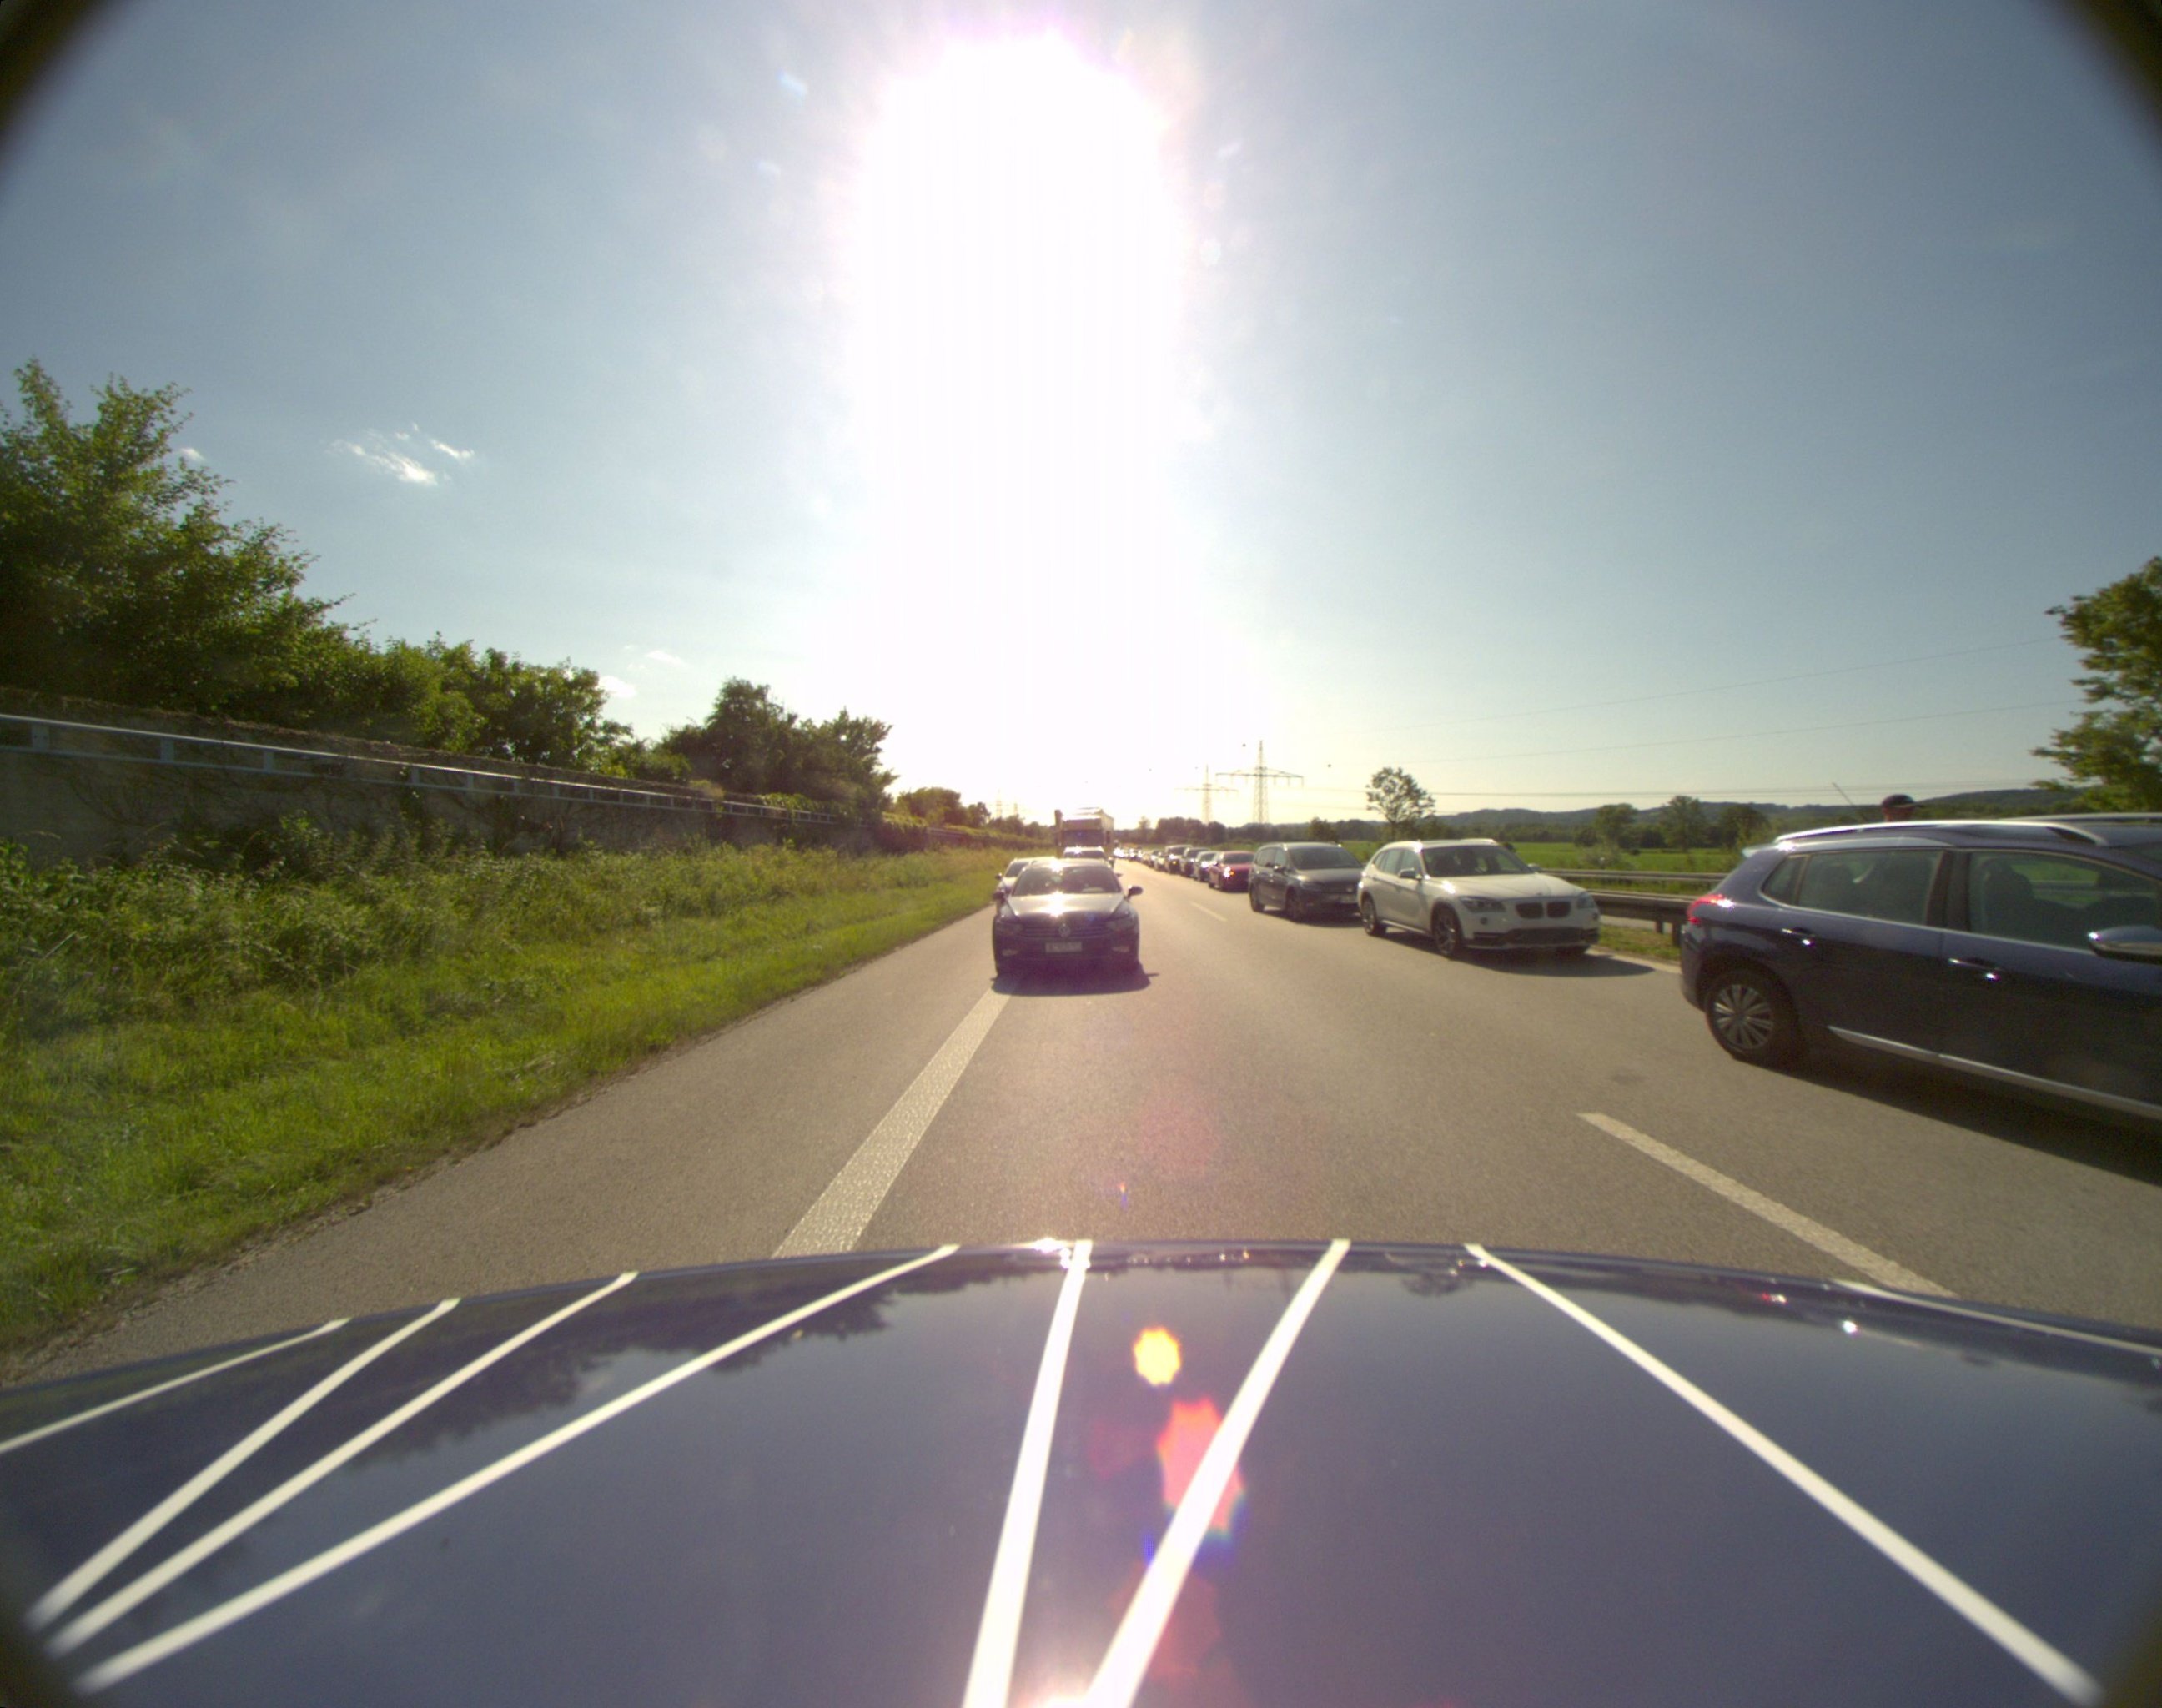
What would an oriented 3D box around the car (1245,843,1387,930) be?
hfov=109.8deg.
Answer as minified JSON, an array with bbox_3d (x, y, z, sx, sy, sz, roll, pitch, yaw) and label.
[{"bbox_3d":[4.958,0.611,16.646,1.820,1.607,4.117,-2,0,0],"label":"car"}]

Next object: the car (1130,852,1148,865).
[{"bbox_3d":[6.627,0.510,86.605,1.819,1.450,4.117,-1,0,1],"label":"car"}]

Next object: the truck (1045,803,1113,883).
[{"bbox_3d":[0.042,-0.611,43.451,3.333,4.089,6.970,-2,1,3],"label":"truck"}]

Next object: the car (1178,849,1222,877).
[{"bbox_3d":[6.704,0.480,43.168,1.894,1.447,4.000,-1,0,1],"label":"car"}]

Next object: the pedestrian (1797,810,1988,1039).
[{"bbox_3d":[6.542,0.535,6.173,0.672,1.740,0.814,-1,1,1],"label":"pedestrian"}]

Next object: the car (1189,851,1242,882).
[{"bbox_3d":[6.497,0.555,37.081,1.895,1.390,4.000,-1,0,0],"label":"car"}]

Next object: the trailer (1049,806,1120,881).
[{"bbox_3d":[0.546,-0.720,49.541,3.387,4.089,13.955,-2,1,5],"label":"trailer"}]

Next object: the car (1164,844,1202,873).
[{"bbox_3d":[6.658,0.272,50.037,1.902,1.777,4.199,-1,0,0],"label":"car"}]

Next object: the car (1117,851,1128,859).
[{"bbox_3d":[7.251,0.176,131.740,1.819,1.450,4.118,-1,0,2],"label":"car"}]

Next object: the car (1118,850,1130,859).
[{"bbox_3d":[7.147,0.035,126.094,1.819,1.450,4.118,-2,0,2],"label":"car"}]

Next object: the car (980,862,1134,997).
[{"bbox_3d":[-0.221,0.892,10.851,1.716,1.405,4.325,-2,0,1],"label":"car"}]

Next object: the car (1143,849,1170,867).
[{"bbox_3d":[6.582,0.314,66.507,1.998,1.522,4.000,-1,0,0],"label":"car"}]

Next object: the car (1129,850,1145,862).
[{"bbox_3d":[7.153,0.237,97.291,1.819,1.450,4.117,-1,0,2],"label":"car"}]

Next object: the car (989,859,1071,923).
[{"bbox_3d":[-1.242,0.891,20.173,1.716,1.417,4.325,-2,0,1],"label":"car"}]

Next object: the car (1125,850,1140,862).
[{"bbox_3d":[7.121,0.253,105.720,1.819,1.450,4.117,-2,0,1],"label":"car"}]

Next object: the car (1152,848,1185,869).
[{"bbox_3d":[6.558,0.290,57.213,1.998,1.522,4.000,-1,0,0],"label":"car"}]

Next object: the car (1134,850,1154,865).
[{"bbox_3d":[6.590,0.331,80.011,1.819,1.450,4.118,-2,0,2],"label":"car"}]

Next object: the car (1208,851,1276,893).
[{"bbox_3d":[5.906,0.616,28.386,1.819,1.450,4.118,-1,0,2],"label":"car"}]

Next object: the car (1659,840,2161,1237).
[{"bbox_3d":[5.110,0.727,3.540,1.692,1.526,3.947,-3,1,-2],"label":"car"}]

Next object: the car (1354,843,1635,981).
[{"bbox_3d":[5.549,0.661,10.905,1.832,1.564,4.163,-1,0,2],"label":"car"}]

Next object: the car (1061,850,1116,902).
[{"bbox_3d":[0.296,0.692,26.609,1.716,1.614,4.325,-2,0,1],"label":"car"}]
